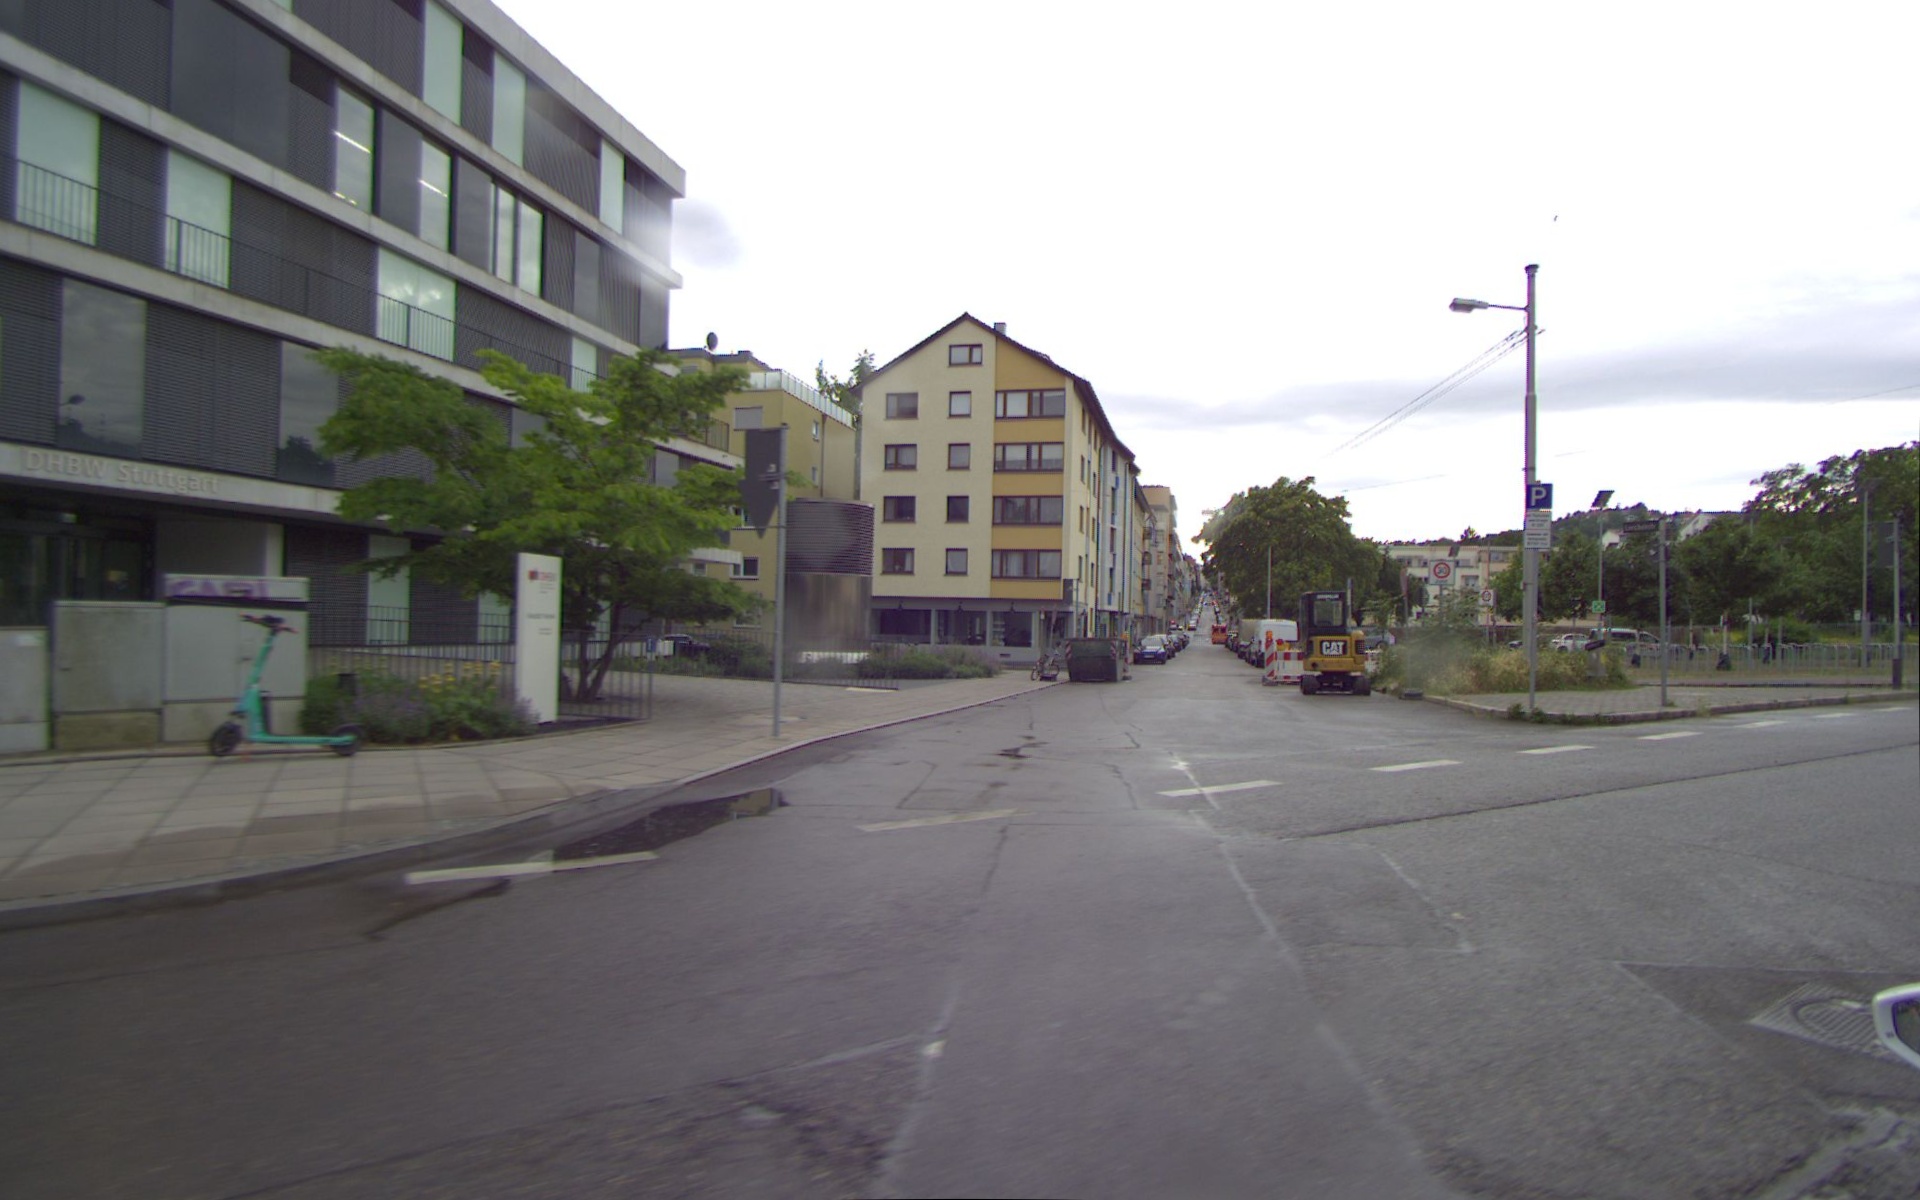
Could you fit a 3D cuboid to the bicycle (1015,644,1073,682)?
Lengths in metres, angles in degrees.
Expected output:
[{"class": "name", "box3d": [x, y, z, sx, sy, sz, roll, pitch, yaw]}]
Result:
[{"class": "bicycle", "box3d": [2.789, 2.083, 33.402, 1.771, 1.122, 0.714, 2, 0, 37]}]

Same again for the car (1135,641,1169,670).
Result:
[{"class": "car", "box3d": [10.696, 3.055, 55.757, 1.764, 1.530, 4.003, -2, -2, 12]}]

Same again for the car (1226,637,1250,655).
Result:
[{"class": "car", "box3d": [24.391, 4.018, 88.147, 1.764, 1.530, 4.003, -2, -2, 12]}]

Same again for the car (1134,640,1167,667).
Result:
[{"class": "car", "box3d": [11.693, 3.272, 61.621, 1.764, 1.530, 4.003, -2, -3, 13]}]

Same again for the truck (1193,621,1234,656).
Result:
[{"class": "truck", "box3d": [39.432, 6.031, 157.057, 5.496, 5.211, 15.717, -2, -3, 12]}]

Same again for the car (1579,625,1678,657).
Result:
[{"class": "car", "box3d": [40.583, 2.475, 61.104, 4.597, 1.858, 2.001, 0, -1, 12]}]

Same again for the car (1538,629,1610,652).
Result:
[{"class": "car", "box3d": [43.259, 2.839, 70.837, 3.919, 1.647, 1.801, 0, -1, 12]}]

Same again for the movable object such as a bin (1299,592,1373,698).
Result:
[{"class": "movable object such as a bin", "box3d": [9.892, 1.096, 26.472, 1.638, 2.492, 5.288, 0, -1, 20]}]

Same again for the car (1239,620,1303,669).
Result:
[{"class": "car", "box3d": [16.707, 2.409, 54.297, 2.620, 2.445, 5.738, -2, -2, 11]}]

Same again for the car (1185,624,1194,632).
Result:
[{"class": "car", "box3d": [48.161, 5.877, 210.559, 1.764, 1.530, 4.003, -2, -2, 12]}]

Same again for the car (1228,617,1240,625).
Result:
[{"class": "car", "box3d": [51.651, 3.962, 189.208, 1.765, 1.530, 4.000, 0, -1, 20]}]

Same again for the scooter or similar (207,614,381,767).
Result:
[{"class": "scooter or similar", "box3d": [-5.851, 0.778, 8.893, 1.217, 1.265, 0.494, 2, 0, -30]}]

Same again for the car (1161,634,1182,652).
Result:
[{"class": "car", "box3d": [18.886, 3.801, 89.654, 1.764, 1.530, 4.003, -2, -2, 12]}]

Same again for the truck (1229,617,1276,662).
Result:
[{"class": "truck", "box3d": [20.343, 2.777, 70.130, 2.724, 2.970, 5.294, -2, -2, 12]}]

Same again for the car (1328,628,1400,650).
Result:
[{"class": "car", "box3d": [30.540, 2.964, 76.156, 4.806, 1.646, 2.127, 0, -3, 14]}]

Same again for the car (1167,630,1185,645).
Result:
[{"class": "car", "box3d": [22.325, 3.866, 103.694, 1.764, 1.530, 4.003, -2, -2, 12]}]
